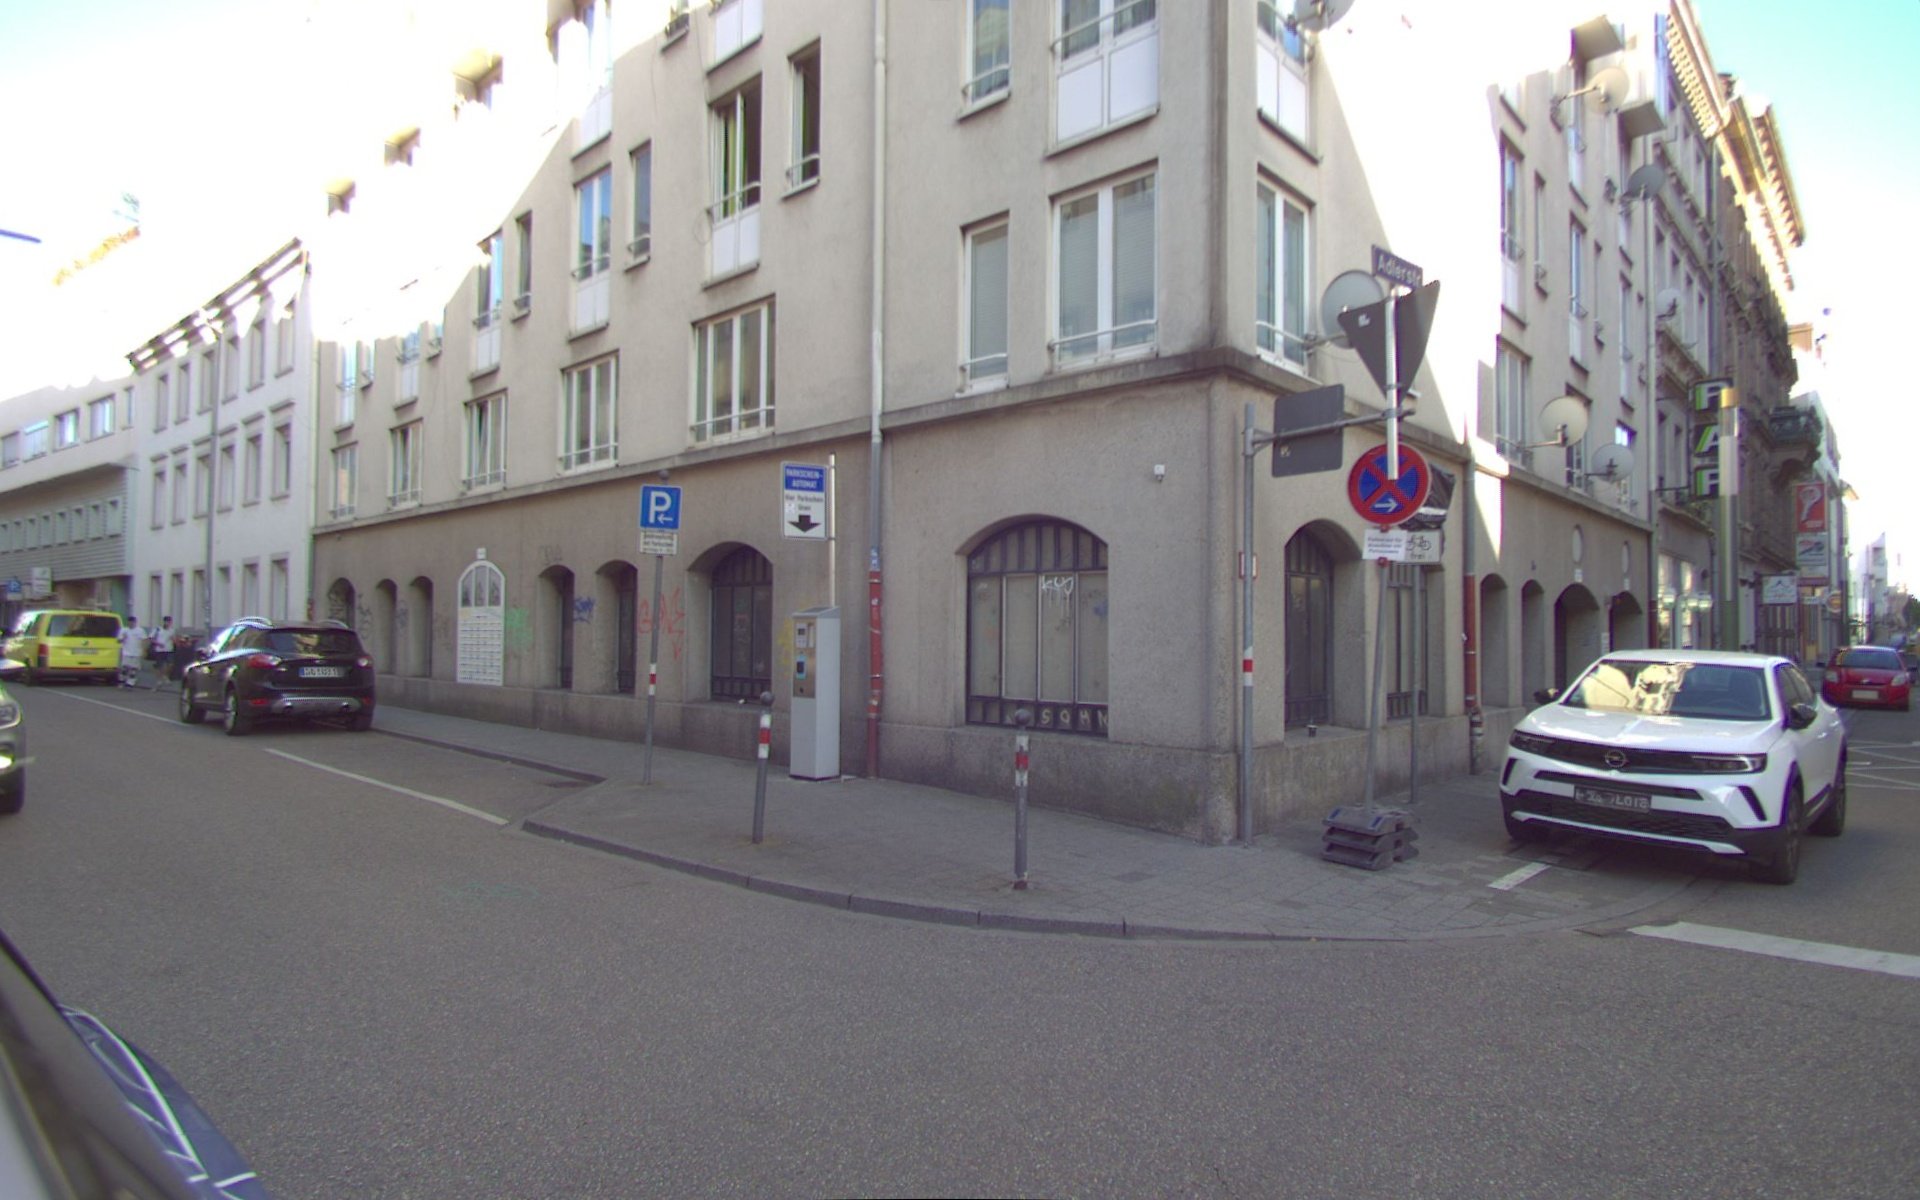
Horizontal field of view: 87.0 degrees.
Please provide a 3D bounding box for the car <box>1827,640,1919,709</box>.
[{"bbox_3d":[22.900,1.800,25.342,1.793,1.537,3.945,0,-2,41],"label":"car"}]

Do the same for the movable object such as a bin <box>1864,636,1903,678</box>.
[{"bbox_3d":[35.732,2.185,39.163,1.083,1.555,0.896,0,-2,41],"label":"movable object such as a bin"}]

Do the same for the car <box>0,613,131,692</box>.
[{"bbox_3d":[-23.369,1.351,26.345,3.994,1.888,1.865,-1,-4,38],"label":"car"}]

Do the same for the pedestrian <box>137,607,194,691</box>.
[{"bbox_3d":[-19.725,1.204,25.125,0.698,2.029,0.925,-2,-3,40],"label":"pedestrian"}]

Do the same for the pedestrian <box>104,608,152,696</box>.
[{"bbox_3d":[-19.784,1.227,24.068,0.698,2.029,0.706,-2,-3,40],"label":"pedestrian"}]

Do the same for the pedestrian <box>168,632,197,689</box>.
[{"bbox_3d":[-20.491,1.587,26.656,0.548,1.459,0.583,2,-3,-39],"label":"pedestrian"}]

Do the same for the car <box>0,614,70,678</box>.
[{"bbox_3d":[-28.135,1.345,29.972,3.994,1.781,1.865,-1,-5,38],"label":"car"}]

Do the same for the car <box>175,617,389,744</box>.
[{"bbox_3d":[-10.673,1.177,15.822,4.000,1.717,1.863,-2,-4,43],"label":"car"}]

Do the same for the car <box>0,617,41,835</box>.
[{"bbox_3d":[-8.836,0.934,7.996,3.995,1.558,1.741,-1,-1,39],"label":"car"}]

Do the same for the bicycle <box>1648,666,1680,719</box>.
[{"bbox_3d":[12.748,1.662,18.320,1.049,0.864,0.219,-1,0,-41],"label":"bicycle"}]

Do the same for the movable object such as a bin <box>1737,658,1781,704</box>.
[{"bbox_3d":[19.744,1.980,25.014,0.837,1.056,0.745,-1,0,40],"label":"movable object such as a bin"}]

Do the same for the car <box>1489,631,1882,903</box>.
[{"bbox_3d":[5.884,1.084,8.034,3.908,1.605,1.746,3,-2,-42],"label":"car"}]
